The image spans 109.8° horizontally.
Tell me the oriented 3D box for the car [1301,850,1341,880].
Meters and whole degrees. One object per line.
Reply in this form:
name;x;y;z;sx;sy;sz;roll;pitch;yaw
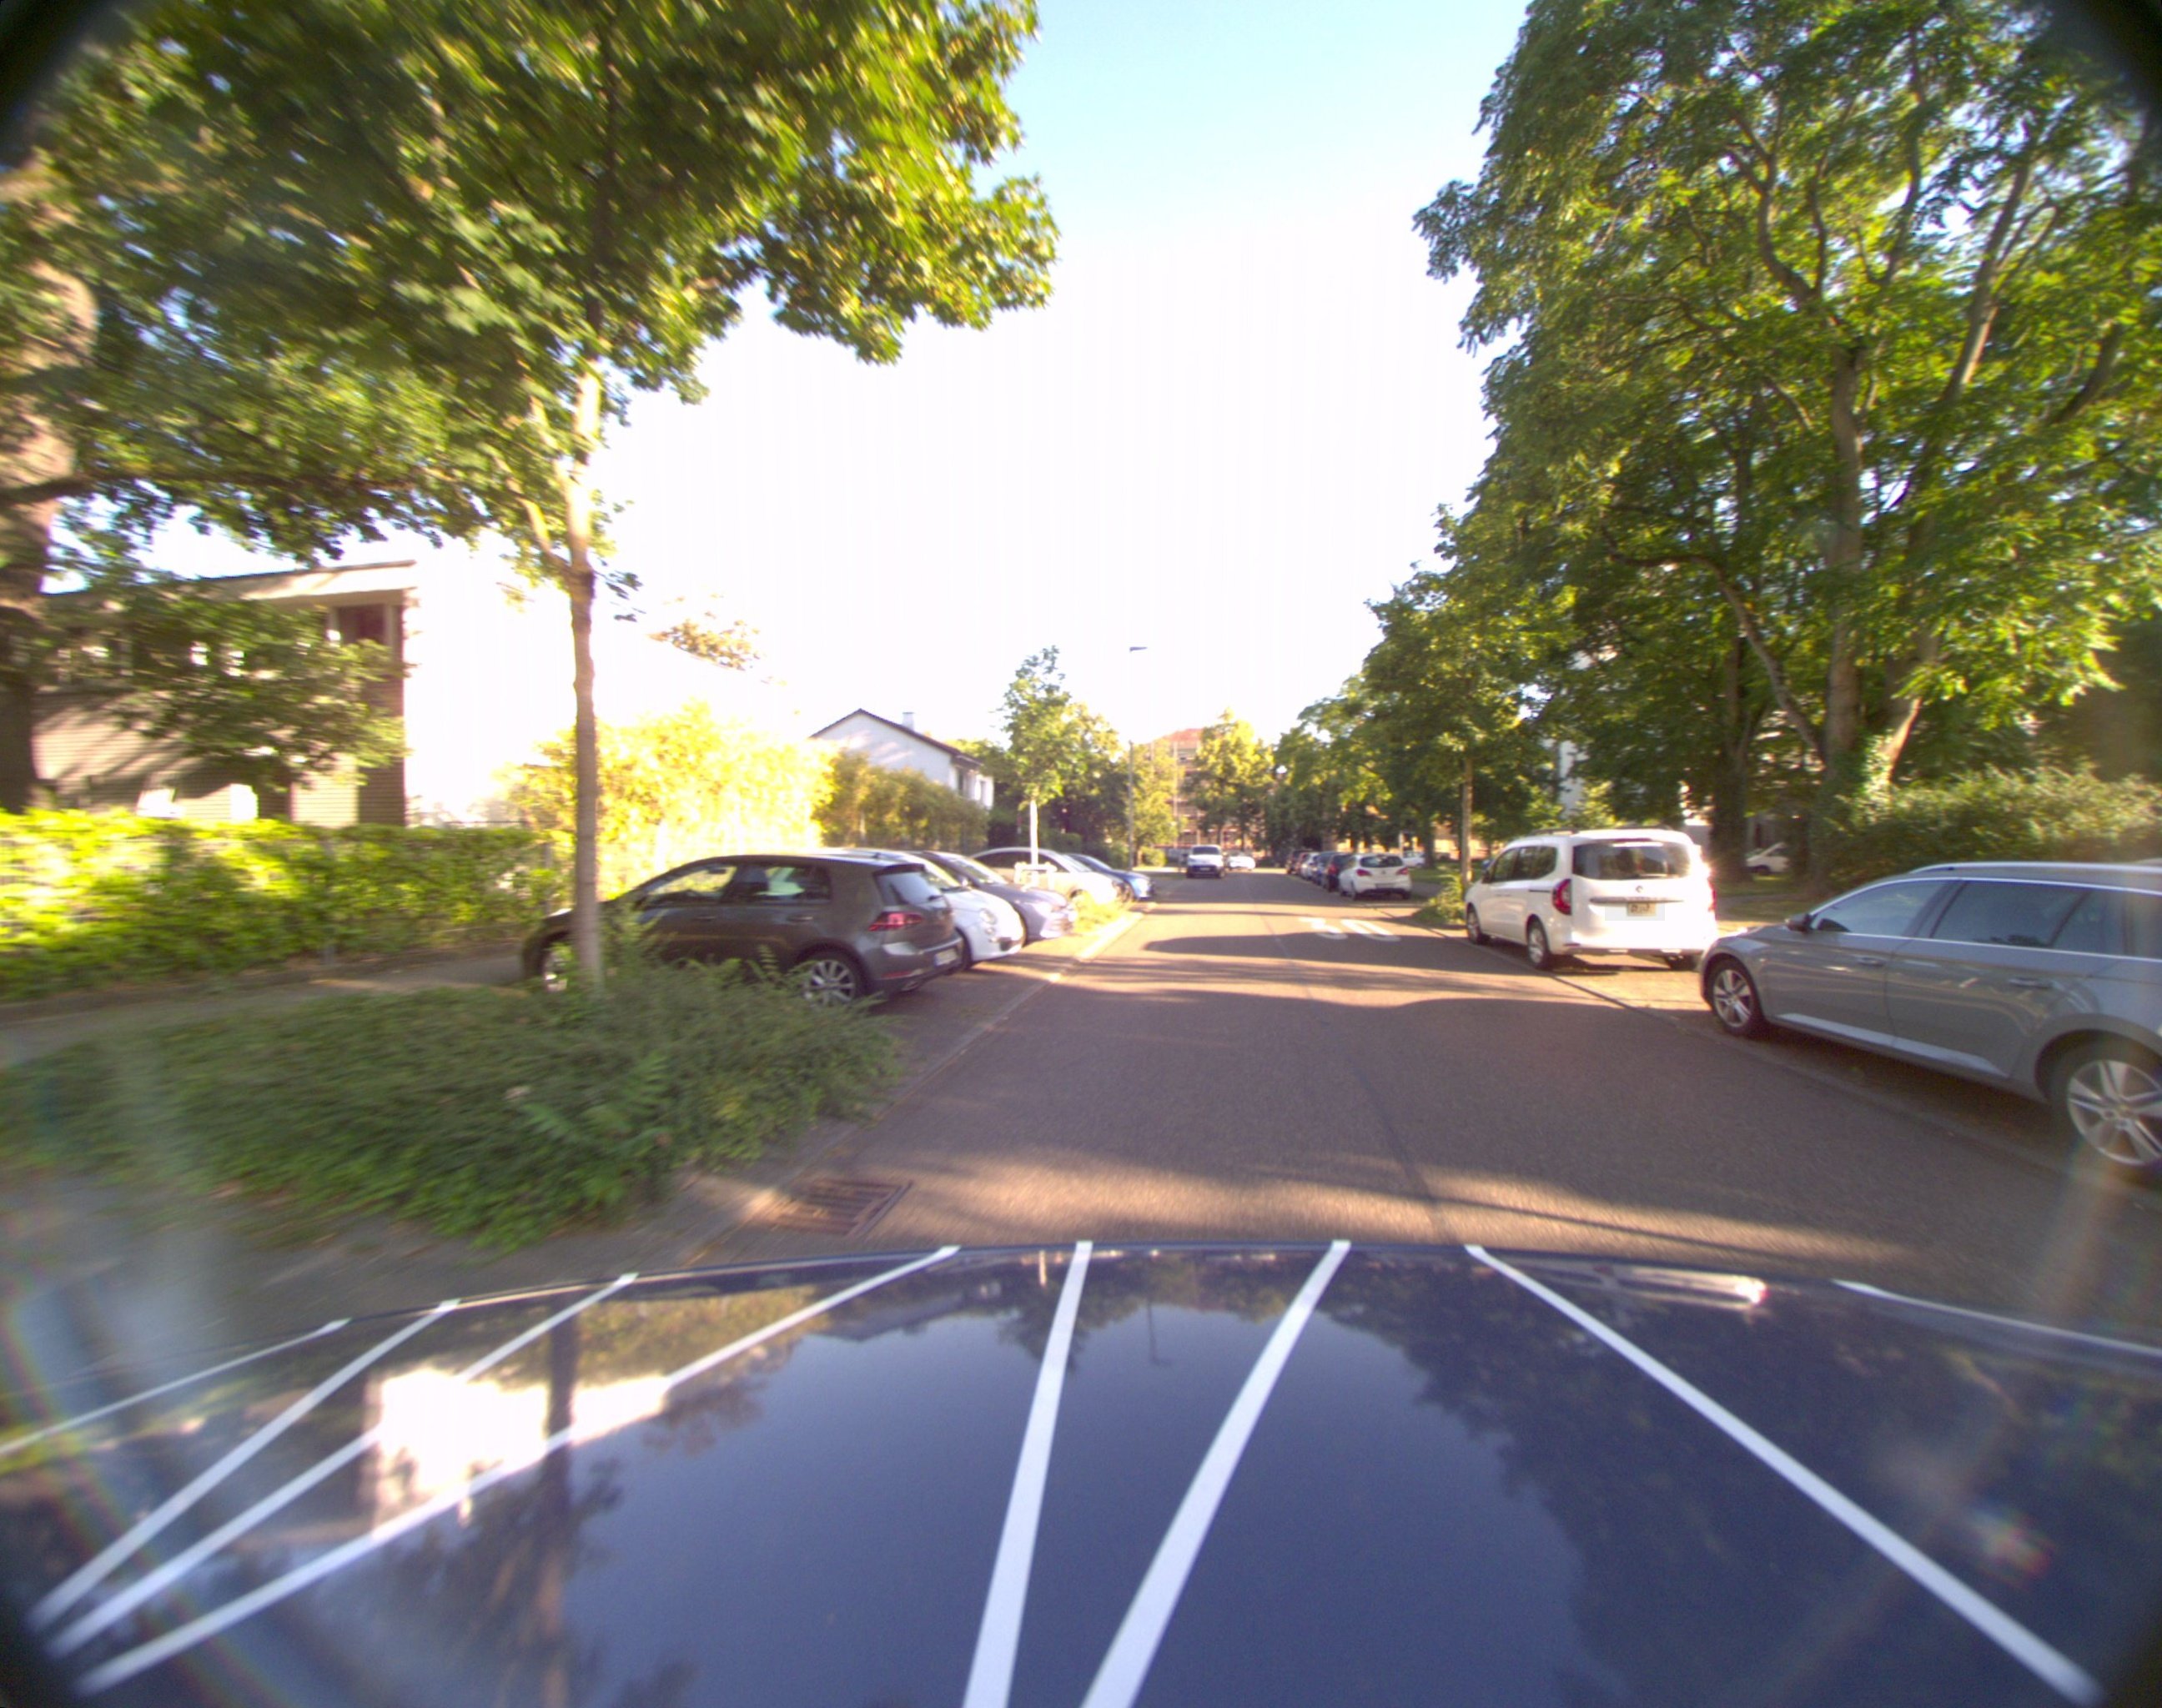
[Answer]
car;12.723;0.533;40.398;1.715;1.500;3.682;0;1;12

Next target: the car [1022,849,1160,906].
car;0.347;0.672;22.991;3.918;1.529;1.746;1;1;9

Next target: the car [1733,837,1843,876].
car;42.272;0.135;45.547;4.759;2.210;1.855;0;1;44

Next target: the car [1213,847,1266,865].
car;15.551;0.200;74.717;2.290;1.673;4.500;3;-1;-43

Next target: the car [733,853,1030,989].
car;-2.506;0.782;9.921;3.351;1.483;1.639;1;1;9

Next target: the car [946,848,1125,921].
car;-1.018;0.663;18.073;3.918;1.529;1.746;1;1;9

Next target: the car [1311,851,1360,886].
car;11.619;0.626;34.867;1.715;1.500;3.682;0;1;12

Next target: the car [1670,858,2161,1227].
car;5.976;0.850;4.577;1.865;1.550;4.842;0;1;11

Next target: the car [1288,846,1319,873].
car;14.775;0.331;50.579;1.715;1.673;3.682;0;1;12

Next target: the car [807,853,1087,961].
car;-2.119;0.774;12.420;4.092;1.449;1.813;1;1;13

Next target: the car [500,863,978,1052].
car;-3.182;0.863;7.397;3.993;1.507;1.646;0;1;10

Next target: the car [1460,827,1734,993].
car;7.028;0.625;10.938;1.759;1.905;4.241;-1;1;11

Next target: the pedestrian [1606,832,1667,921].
pedestrian;11.096;0.429;15.212;0.715;1.727;0.748;0;2;11

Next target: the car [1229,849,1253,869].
car;12.540;0.368;59.539;1.780;1.526;4.349;0;1;11

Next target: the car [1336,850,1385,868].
car;23.850;0.409;64.861;1.692;1.489;3.564;-1;1;-45

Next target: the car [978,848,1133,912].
car;-0.646;0.656;20.644;3.918;1.529;1.746;1;1;9

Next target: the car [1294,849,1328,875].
car;14.093;0.486;46.616;1.715;1.500;3.682;0;1;12

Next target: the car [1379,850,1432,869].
car;26.365;0.400;61.761;1.692;1.489;3.564;-1;1;-45

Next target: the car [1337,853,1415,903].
car;9.491;0.714;24.676;1.715;1.500;3.312;0;0;9

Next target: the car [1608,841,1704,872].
car;37.694;0.147;49.893;1.800;1.905;4.759;-1;1;-45

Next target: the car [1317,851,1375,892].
car;10.366;0.641;29.922;1.715;1.500;3.682;0;1;12

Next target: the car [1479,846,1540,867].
car;31.656;0.209;56.155;1.678;1.489;3.565;-1;0;-45

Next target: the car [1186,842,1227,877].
car;7.239;0.256;43.497;2.057;1.919;4.452;0;1;12
